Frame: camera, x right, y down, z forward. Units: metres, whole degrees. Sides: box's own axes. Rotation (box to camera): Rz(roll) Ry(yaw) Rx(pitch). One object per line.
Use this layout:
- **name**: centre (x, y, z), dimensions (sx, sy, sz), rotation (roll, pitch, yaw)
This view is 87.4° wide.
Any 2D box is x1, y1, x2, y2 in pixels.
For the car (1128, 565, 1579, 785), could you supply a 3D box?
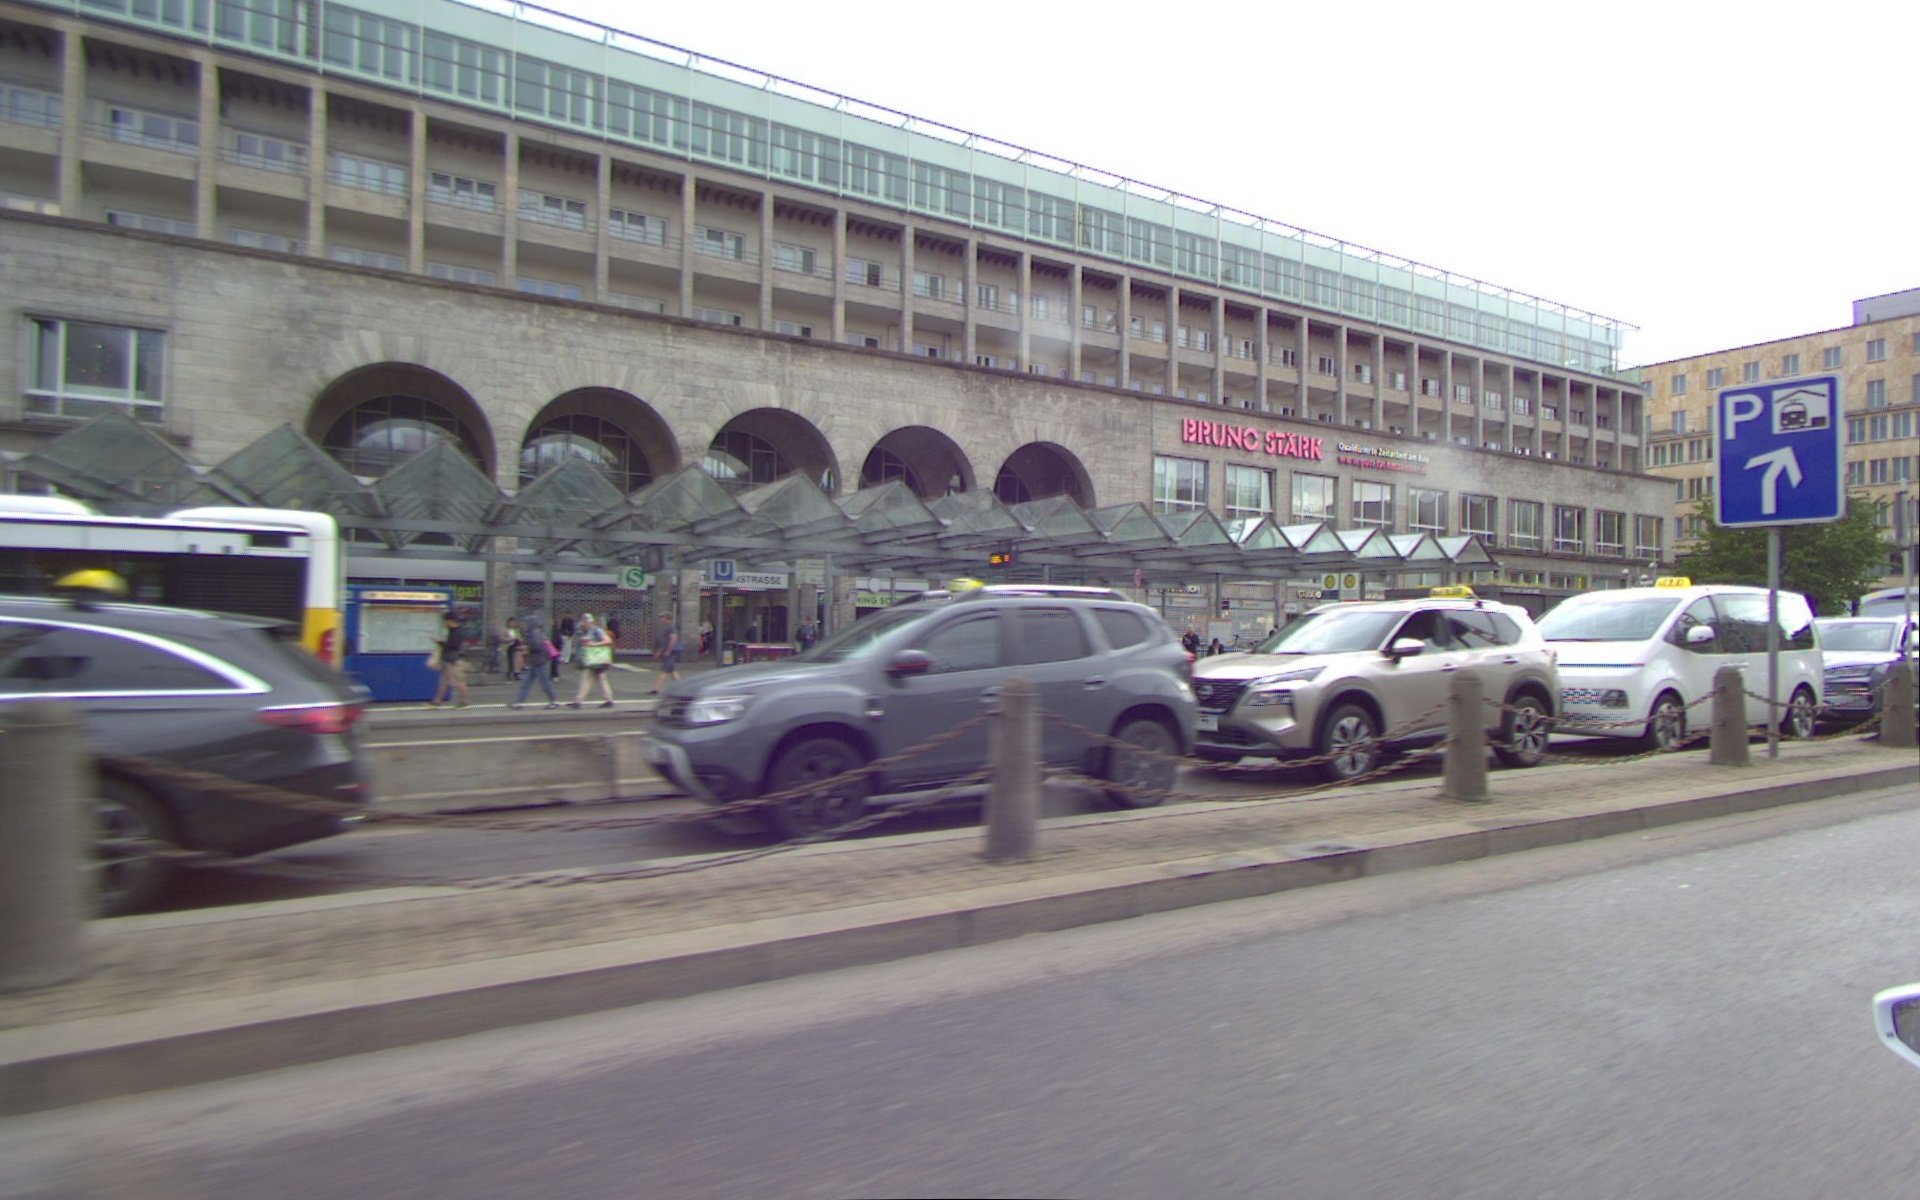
- **car**: centre (4.105, 0.713, 10.334), dimensions (4.527, 1.830, 1.921), rotation (2, -2, -29)

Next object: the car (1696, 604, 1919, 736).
- **car**: centre (13.573, 0.991, 15.326), dimensions (4.723, 1.745, 1.985), rotation (1, -1, -29)

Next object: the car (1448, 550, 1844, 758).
- **car**: centre (8.885, 0.641, 12.873), dimensions (5.477, 2.207, 1.985), rotation (1, -1, -29)

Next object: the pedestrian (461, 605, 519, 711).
- **pedestrian**: centre (-8.066, 0.976, 17.223), dimensions (0.845, 1.748, 0.620), rotation (1, 1, -29)

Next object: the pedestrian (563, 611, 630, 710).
- **pedestrian**: centre (-6.491, 1.062, 17.953), dimensions (1.013, 1.689, 0.736), rotation (1, 1, -28)

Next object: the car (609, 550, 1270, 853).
- **car**: centre (-0.017, 0.672, 7.793), dimensions (4.829, 1.721, 1.920), rotation (2, -3, -31)

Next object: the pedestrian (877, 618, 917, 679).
- **pedestrian**: centre (-1.797, 1.367, 28.727), dimensions (0.883, 1.677, 0.753), rotation (1, 1, -28)

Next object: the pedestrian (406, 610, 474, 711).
- **pedestrian**: centre (-9.049, 1.029, 17.480), dimensions (1.013, 1.689, 0.626), rotation (1, 1, -29)

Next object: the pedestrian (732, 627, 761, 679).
- **pedestrian**: centre (-6.760, 1.661, 31.803), dimensions (0.747, 1.588, 0.627), rotation (1, 1, -28)

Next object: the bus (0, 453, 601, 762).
- **bus**: centre (-10.493, 0.113, 13.308), dimensions (10.449, 3.505, 2.864), rotation (1, -1, -30)

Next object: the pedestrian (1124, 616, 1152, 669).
- **pedestrian**: centre (7.005, 1.651, 39.491), dimensions (0.761, 2.068, 0.800), rotation (1, -1, -27)

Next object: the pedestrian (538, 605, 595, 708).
- **pedestrian**: centre (-6.943, 0.978, 17.727), dimensions (0.845, 1.748, 0.620), rotation (1, 1, -29)

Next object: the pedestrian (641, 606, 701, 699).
- **pedestrian**: centre (-5.924, 1.053, 20.573), dimensions (1.013, 1.832, 0.736), rotation (1, 1, -28)

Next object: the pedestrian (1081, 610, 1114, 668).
- **pedestrian**: centre (5.245, 1.486, 38.304), dimensions (0.964, 2.154, 0.767), rotation (1, -1, -21)

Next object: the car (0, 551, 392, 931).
- **car**: centre (-5.444, 0.588, 4.489), dimensions (4.995, 1.597, 1.920), rotation (2, -3, -31)

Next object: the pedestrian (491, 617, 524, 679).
- **pedestrian**: centre (-11.881, 1.250, 26.382), dimensions (0.747, 1.588, 0.627), rotation (1, 1, -28)

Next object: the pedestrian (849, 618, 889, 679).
- **pedestrian**: centre (-2.579, 1.355, 28.302), dimensions (0.883, 1.677, 0.753), rotation (1, 1, -28)
